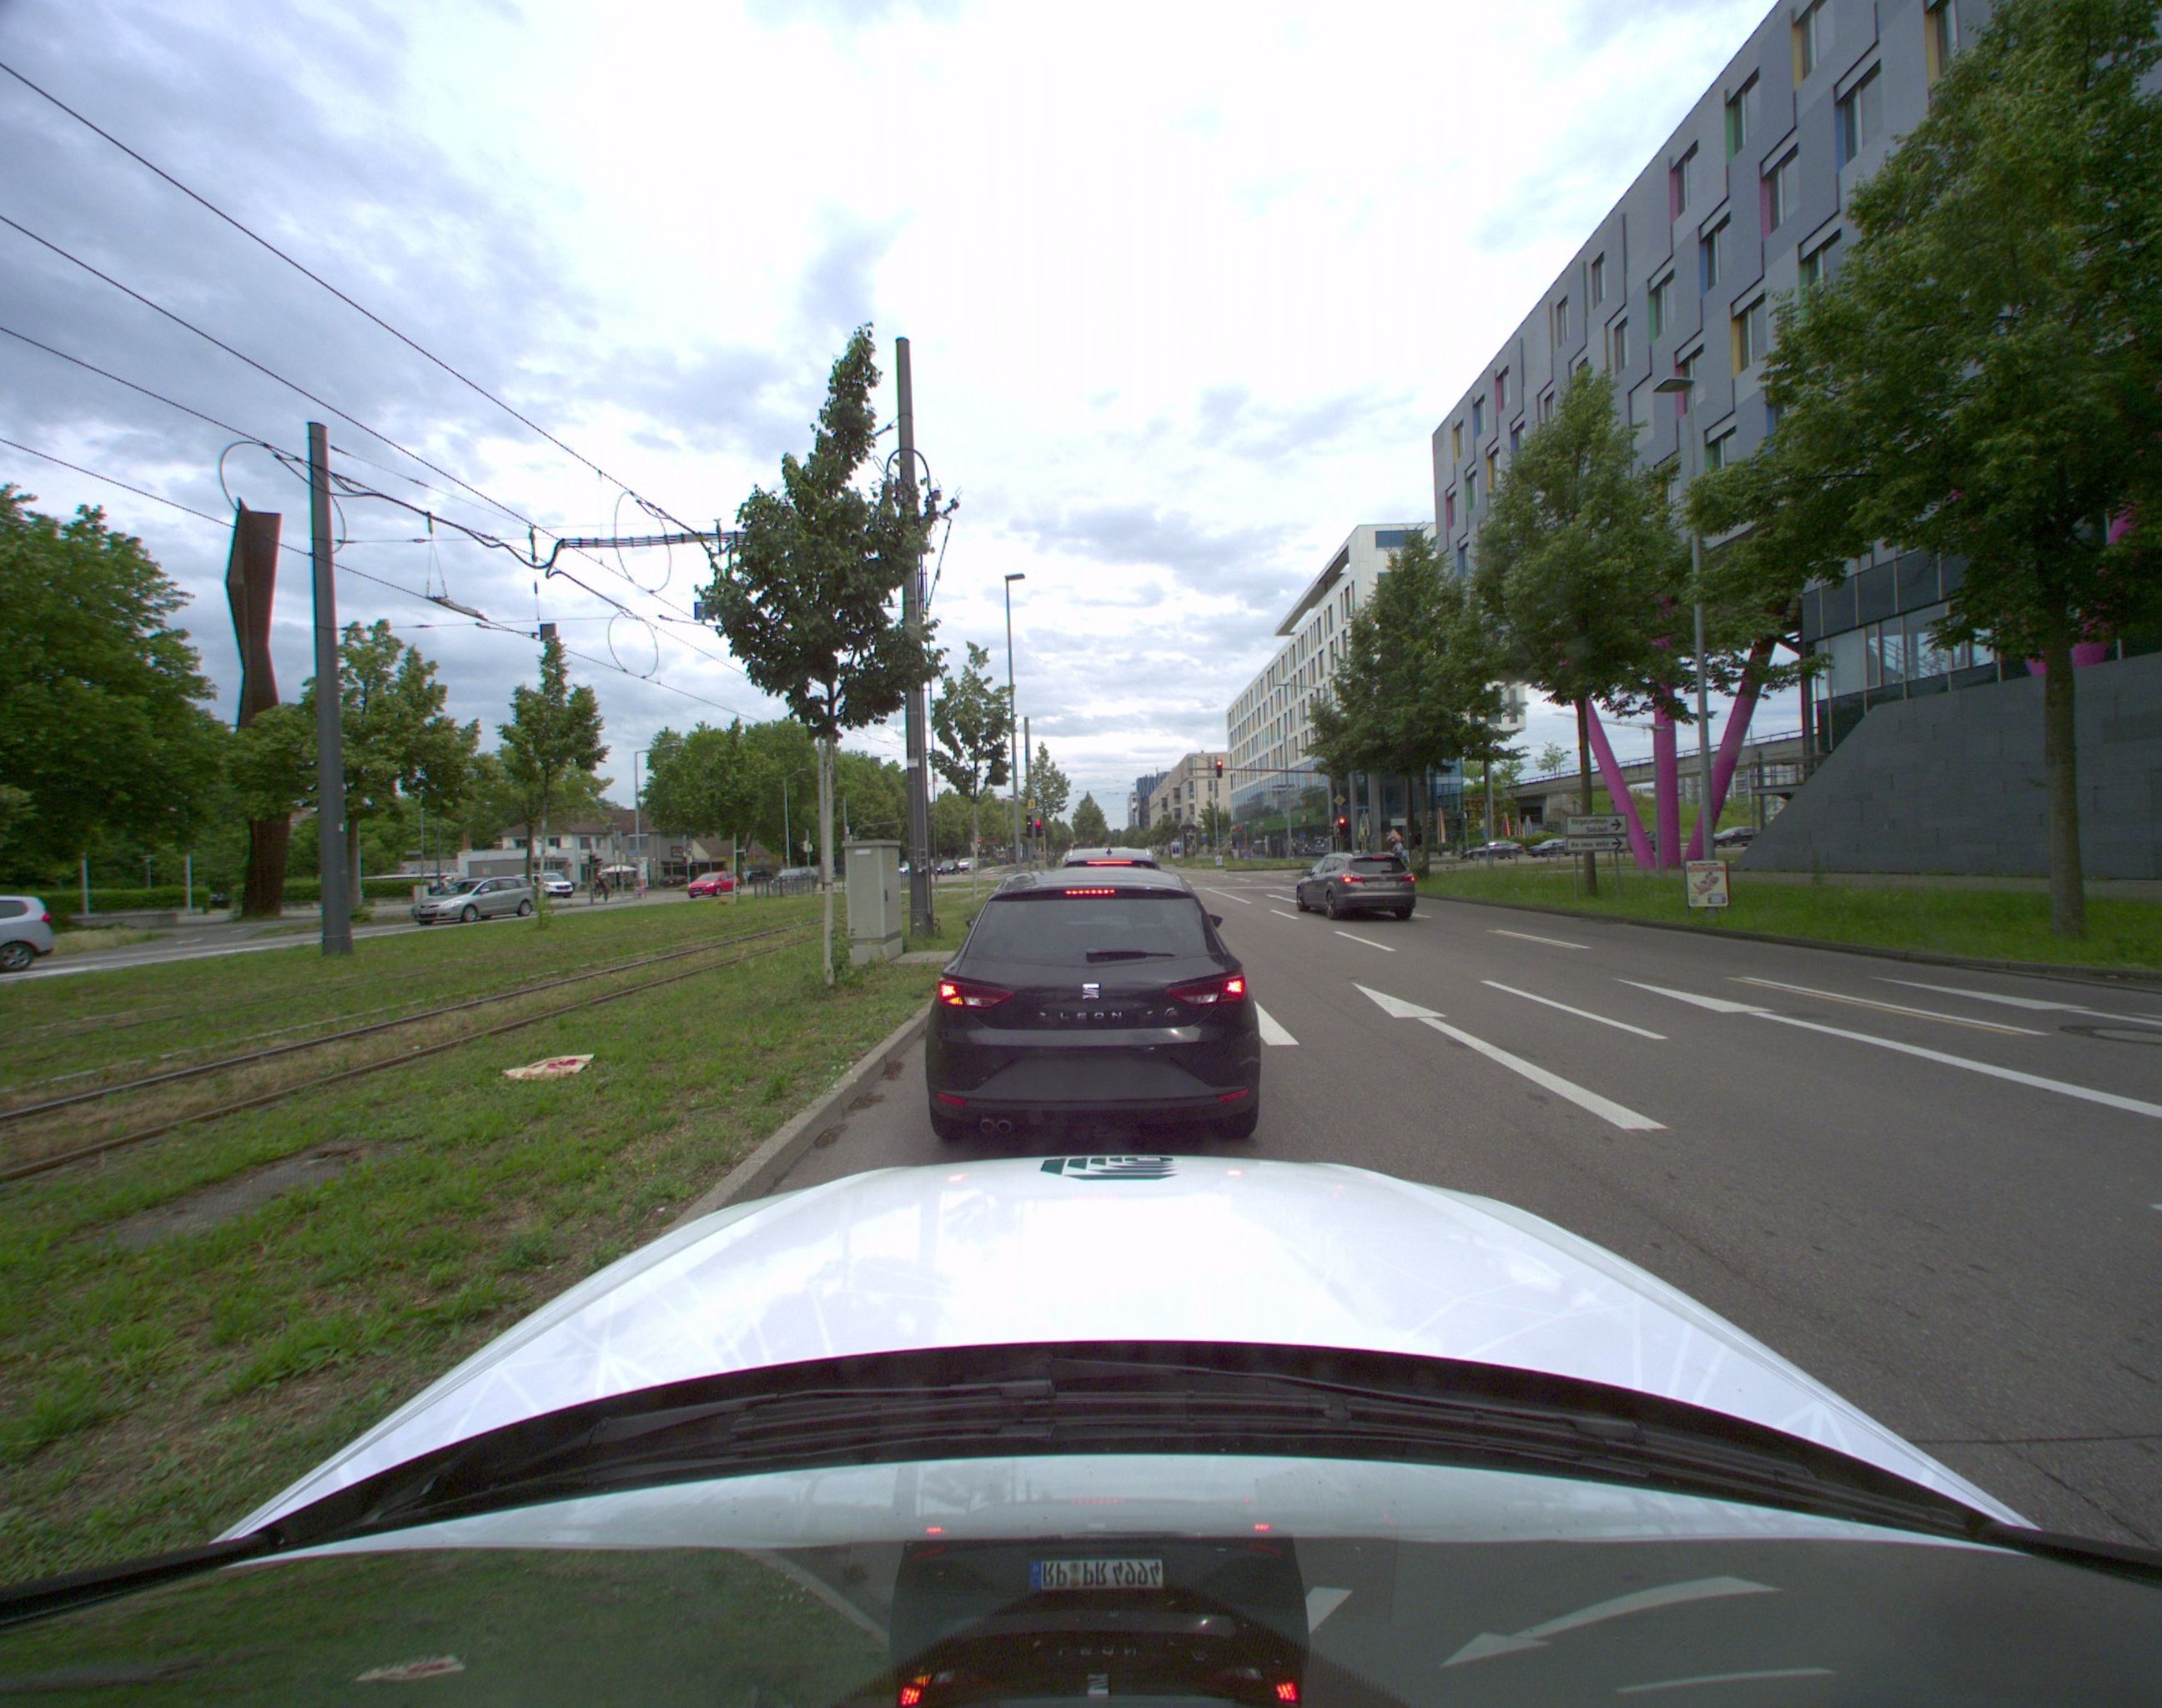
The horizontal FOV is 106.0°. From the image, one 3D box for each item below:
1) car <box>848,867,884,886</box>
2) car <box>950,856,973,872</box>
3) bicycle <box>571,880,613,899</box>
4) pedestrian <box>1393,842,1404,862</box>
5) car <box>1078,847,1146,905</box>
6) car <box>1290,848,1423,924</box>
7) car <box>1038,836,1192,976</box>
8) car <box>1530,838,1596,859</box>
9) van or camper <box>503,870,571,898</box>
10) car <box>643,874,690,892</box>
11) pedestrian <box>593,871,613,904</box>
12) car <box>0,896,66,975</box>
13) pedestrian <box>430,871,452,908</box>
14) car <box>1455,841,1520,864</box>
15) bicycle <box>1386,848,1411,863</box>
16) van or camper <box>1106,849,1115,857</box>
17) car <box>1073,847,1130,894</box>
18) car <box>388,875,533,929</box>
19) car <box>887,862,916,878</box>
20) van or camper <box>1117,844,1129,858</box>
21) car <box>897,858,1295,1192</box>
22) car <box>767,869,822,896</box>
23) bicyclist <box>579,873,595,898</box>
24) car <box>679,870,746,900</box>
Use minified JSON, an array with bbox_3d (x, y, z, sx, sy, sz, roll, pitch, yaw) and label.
[{"bbox_3d":[-17.872,1.858,67.758,1.795,1.377,4.058,-2,0,1],"label":"car"},{"bbox_3d":[-14.067,1.113,95.804,1.987,1.750,4.201,-2,0,1],"label":"car"},{"bbox_3d":[-35.465,2.581,59.127,2.520,1.202,0.734,-2,0,-25],"label":"bicycle"},{"bbox_3d":[25.688,-0.137,65.853,0.612,1.604,0.619,-2,0,4],"label":"pedestrian"},{"bbox_3d":[1.074,0.643,26.192,1.984,1.682,4.005,-1,0,5],"label":"car"},{"bbox_3d":[6.315,0.654,19.195,1.741,1.499,4.270,-2,1,1],"label":"car"},{"bbox_3d":[0.469,0.625,11.810,1.796,1.624,4.002,-2,0,2],"label":"car"},{"bbox_3d":[37.856,-0.414,64.037,4.063,1.455,1.759,-2,0,3],"label":"car"},{"bbox_3d":[-41.625,2.306,62.323,5.212,2.013,2.481,-2,0,34],"label":"van or camper"},{"bbox_3d":[-47.145,3.333,92.704,4.258,1.816,2.111,-2,0,6],"label":"car"},{"bbox_3d":[-27.728,1.943,47.260,0.779,1.832,0.771,-2,0,-16],"label":"pedestrian"},{"bbox_3d":[-22.813,1.657,15.266,1.790,1.571,4.578,0,-1,0],"label":"car"},{"bbox_3d":[-36.979,2.037,47.023,0.910,2.013,0.942,-2,0,-40],"label":"pedestrian"},{"bbox_3d":[31.840,-0.117,63.860,4.233,1.615,1.759,-2,0,3],"label":"car"},{"bbox_3d":[25.682,0.129,65.849,1.784,1.085,0.618,-2,0,3],"label":"bicycle"},{"bbox_3d":[6.589,-0.333,180.807,1.986,1.615,4.792,-1,1,2],"label":"van or camper"},{"bbox_3d":[0.845,0.584,31.263,1.985,1.682,4.005,-1,0,4],"label":"car"},{"bbox_3d":[-22.635,1.699,29.992,1.715,1.643,4.674,-2,0,0],"label":"car"},{"bbox_3d":[-19.328,1.693,87.725,1.804,1.588,5.079,-2,0,2],"label":"car"},{"bbox_3d":[7.536,-0.503,147.669,2.101,2.355,4.927,-1,2,2],"label":"van or camper"},{"bbox_3d":[0.103,0.762,5.589,1.737,1.417,4.001,-1,0,1],"label":"car"},{"bbox_3d":[-18.104,1.744,51.692,1.658,1.426,4.746,-4,0,1],"label":"car"},{"bbox_3d":[-35.759,2.285,58.998,0.854,1.721,0.715,-2,0,-25],"label":"bicyclist"},{"bbox_3d":[-22.099,1.808,49.050,1.789,1.570,4.331,-2,0,3],"label":"car"}]
